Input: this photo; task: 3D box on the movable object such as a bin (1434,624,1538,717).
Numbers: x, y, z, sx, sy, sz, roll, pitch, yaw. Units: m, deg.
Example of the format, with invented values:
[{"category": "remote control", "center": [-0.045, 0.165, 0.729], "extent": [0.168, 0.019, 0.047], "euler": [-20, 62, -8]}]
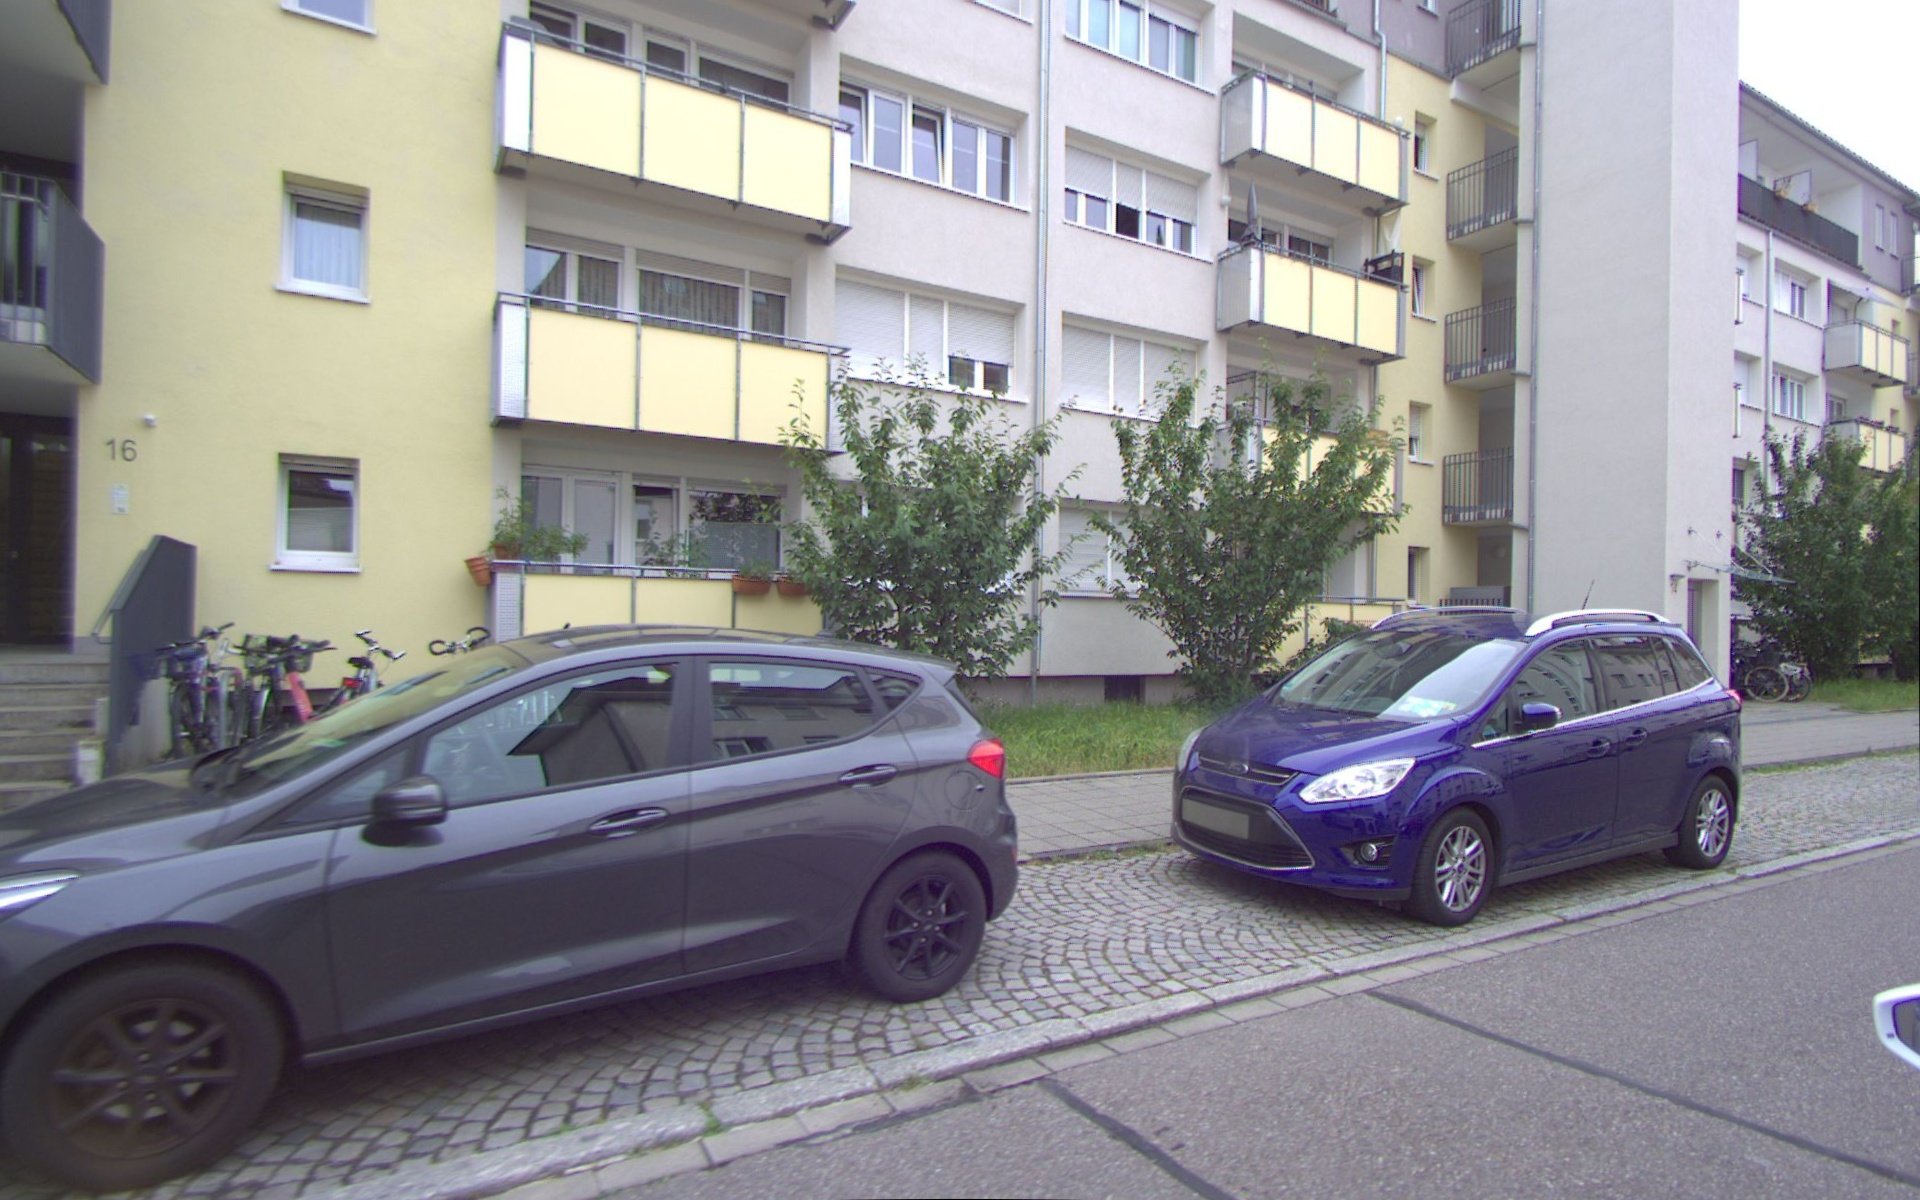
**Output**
[{"category": "movable object such as a bin", "center": [8.869, 1.163, 16.945], "extent": [1.299, 1.466, 0.997], "euler": [2, 0, -30]}]

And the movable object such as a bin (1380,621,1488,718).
[{"category": "movable object such as a bin", "center": [7.652, 1.106, 16.237], "extent": [1.299, 1.466, 0.997], "euler": [2, 0, -30]}]

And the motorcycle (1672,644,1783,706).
[{"category": "motorcycle", "center": [15.138, 1.448, 19.843], "extent": [0.683, 1.144, 1.606], "euler": [1, -2, -33]}]

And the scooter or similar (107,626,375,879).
[{"category": "scooter or similar", "center": [-3.879, 0.782, 5.508], "extent": [1.122, 1.260, 0.434], "euler": [2, -1, -31]}]

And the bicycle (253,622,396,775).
[{"category": "bicycle", "center": [-5.349, 0.768, 8.569], "extent": [0.706, 1.152, 1.848], "euler": [1, -1, -23]}]

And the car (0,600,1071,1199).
[{"category": "car", "center": [-1.538, 0.790, 3.983], "extent": [3.779, 1.465, 1.611], "euler": [2, 0, -34]}]

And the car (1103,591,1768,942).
[{"category": "car", "center": [3.263, 0.837, 6.648], "extent": [4.420, 1.648, 1.791], "euler": [2, 0, -31]}]

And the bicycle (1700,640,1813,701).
[{"category": "bicycle", "center": [16.288, 1.421, 20.570], "extent": [0.602, 1.157, 1.712], "euler": [2, -1, -34]}]

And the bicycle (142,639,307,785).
[{"category": "bicycle", "center": [-6.006, 0.856, 8.318], "extent": [0.661, 1.034, 1.848], "euler": [1, -1, -23]}]

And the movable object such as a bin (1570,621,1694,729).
[{"category": "movable object such as a bin", "center": [9.788, 1.060, 14.641], "extent": [1.299, 1.466, 0.997], "euler": [2, 0, -30]}]

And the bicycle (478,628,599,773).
[{"category": "bicycle", "center": [-3.865, 0.847, 9.128], "extent": [0.709, 1.152, 1.842], "euler": [1, -2, -32]}]

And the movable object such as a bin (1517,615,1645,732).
[{"category": "movable object such as a bin", "center": [8.639, 0.990, 13.986], "extent": [1.299, 1.520, 0.997], "euler": [2, 0, -30]}]

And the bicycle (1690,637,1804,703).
[{"category": "bicycle", "center": [15.782, 1.374, 20.191], "extent": [0.602, 1.241, 1.712], "euler": [1, -1, -34]}]

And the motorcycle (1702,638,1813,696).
[{"category": "motorcycle", "center": [16.708, 1.381, 21.090], "extent": [0.587, 1.144, 1.738], "euler": [1, -2, -34]}]
